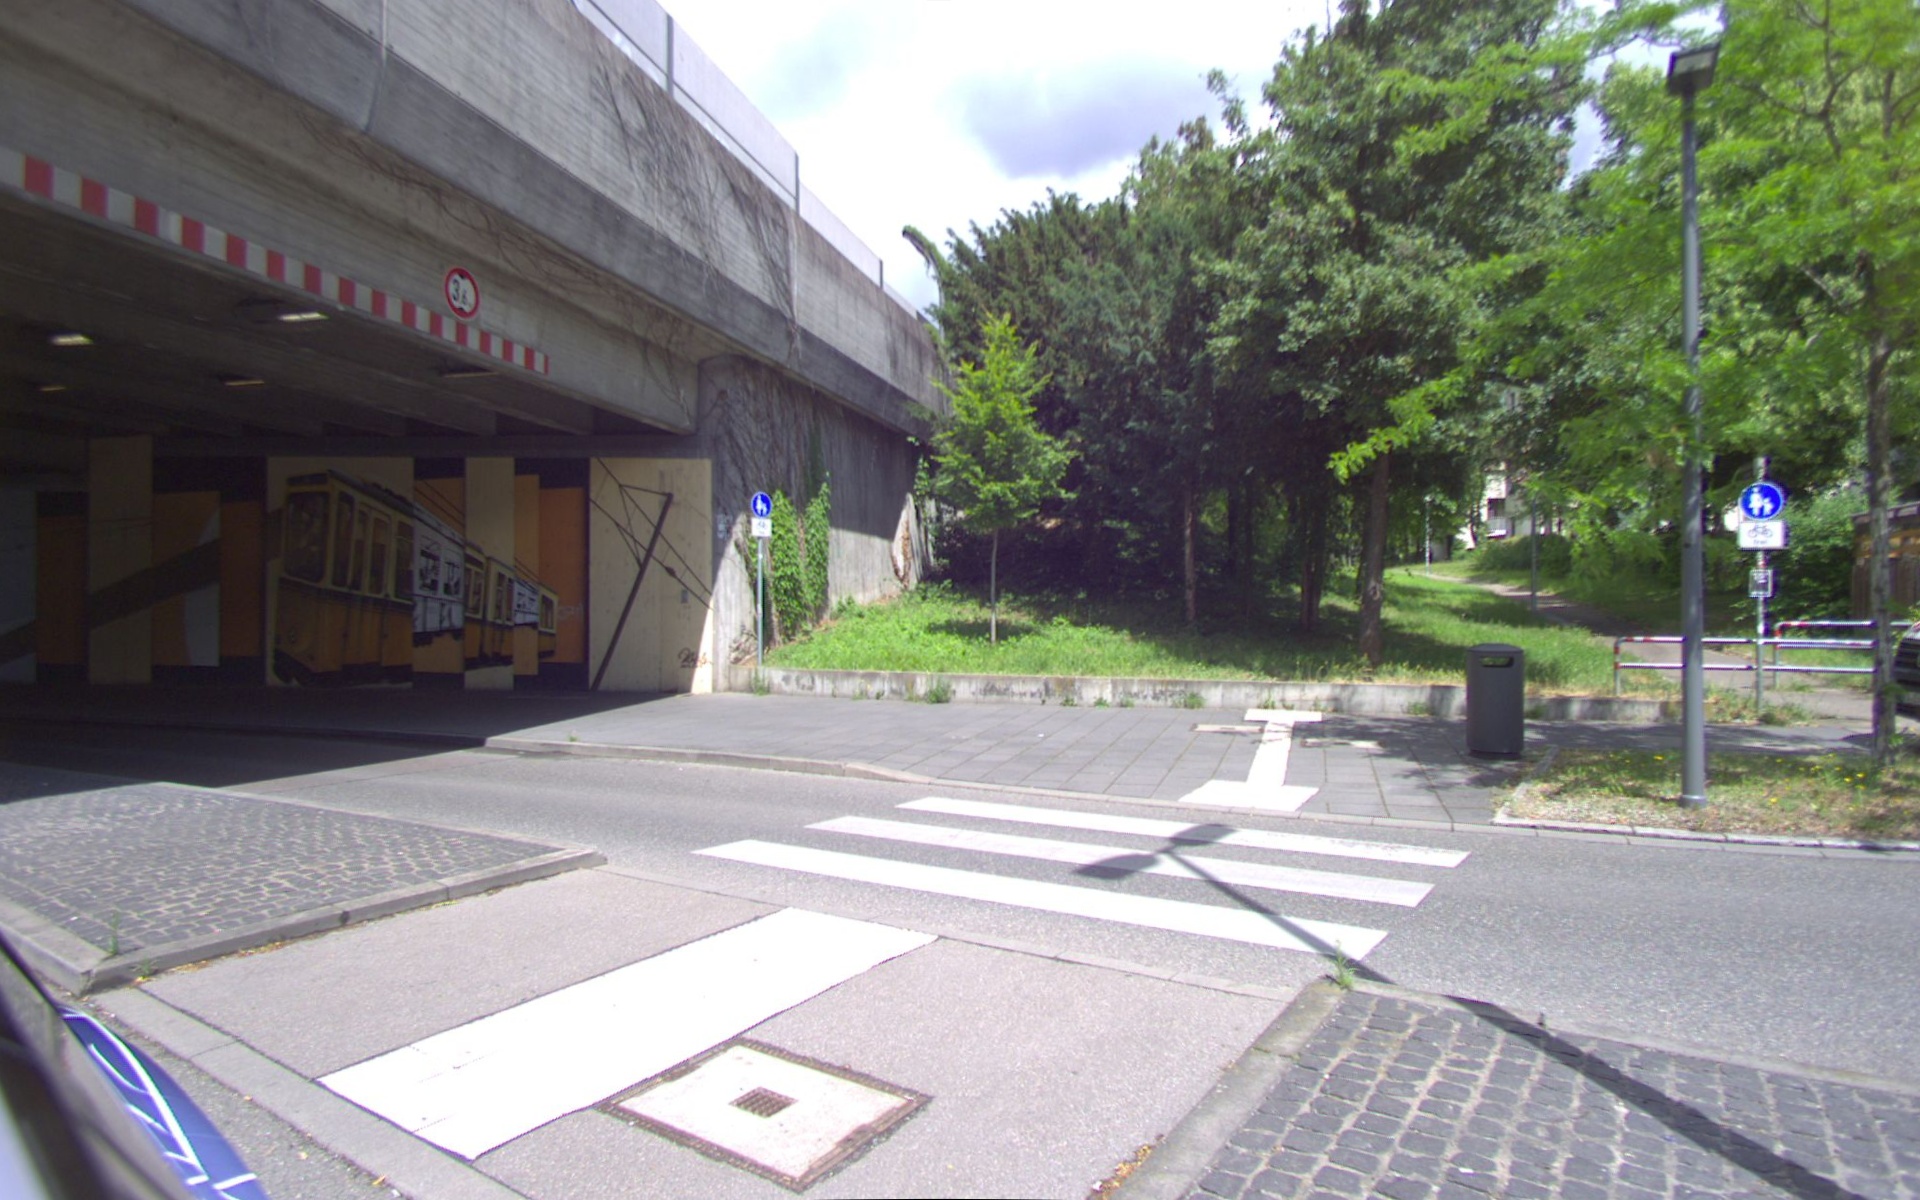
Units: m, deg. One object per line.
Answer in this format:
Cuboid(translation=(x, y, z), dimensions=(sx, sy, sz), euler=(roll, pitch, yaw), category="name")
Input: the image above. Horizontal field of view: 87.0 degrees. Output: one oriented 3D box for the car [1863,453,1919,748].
Cuboid(translation=(11.330, -0.036, 8.022), dimensions=(5.880, 2.626, 1.963), euler=(-1, 1, 17), category="car")
